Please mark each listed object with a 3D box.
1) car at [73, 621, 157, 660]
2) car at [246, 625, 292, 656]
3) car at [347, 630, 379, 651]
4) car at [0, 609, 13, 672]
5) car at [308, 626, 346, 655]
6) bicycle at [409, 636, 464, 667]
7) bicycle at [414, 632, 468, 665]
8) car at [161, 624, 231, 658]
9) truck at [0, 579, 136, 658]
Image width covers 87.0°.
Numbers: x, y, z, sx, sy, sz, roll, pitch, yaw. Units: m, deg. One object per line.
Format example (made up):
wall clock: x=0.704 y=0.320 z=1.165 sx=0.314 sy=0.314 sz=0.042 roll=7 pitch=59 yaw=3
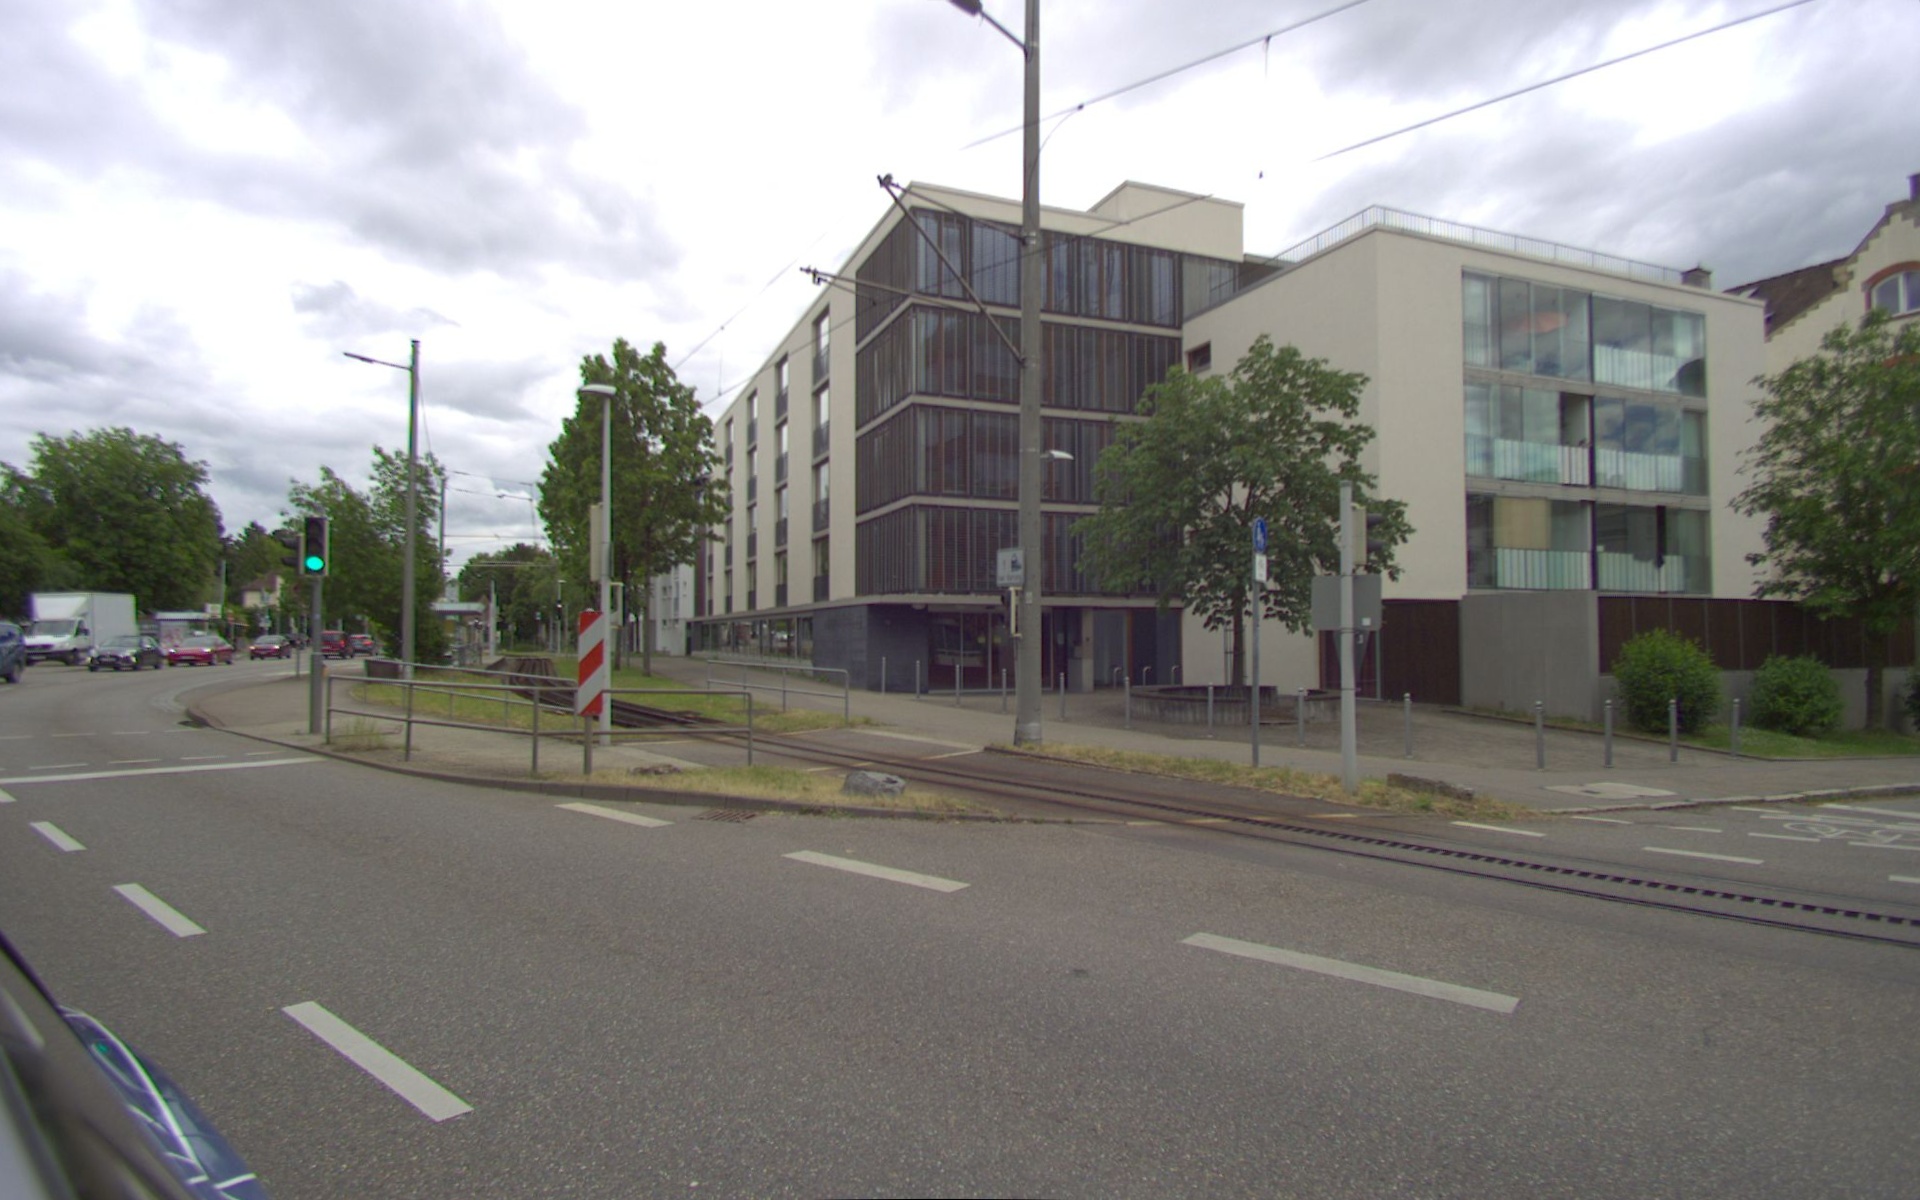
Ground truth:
car: x=-35.489 y=1.685 z=42.600 sx=1.819 sy=1.546 sz=4.013 roll=0 pitch=-2 yaw=-27
car: x=-44.322 y=2.585 z=64.982 sx=1.819 sy=1.875 sz=4.271 roll=0 pitch=-2 yaw=-26
car: x=-43.916 y=3.017 z=74.509 sx=1.743 sy=1.490 sz=4.012 roll=2 pitch=-3 yaw=-27
car: x=-29.013 y=1.178 z=29.021 sx=1.819 sy=1.875 sz=4.012 roll=1 pitch=-2 yaw=-30
car: x=-41.283 y=2.640 z=66.087 sx=1.657 sy=1.822 sz=4.365 roll=2 pitch=-3 yaw=-27
bicycle: x=-19.130 y=1.871 z=36.998 sx=1.724 sy=1.054 sz=0.409 roll=-2 pitch=-2 yaw=-21
bicycle: x=-18.553 y=1.740 z=36.184 sx=1.682 sy=1.097 sz=0.409 roll=-1 pitch=-2 yaw=-35
car: x=-37.218 y=2.042 z=49.422 sx=1.819 sy=1.546 sz=4.013 roll=2 pitch=-4 yaw=-24
truck: x=-42.415 y=0.916 z=48.352 sx=2.499 sy=3.452 sz=7.801 roll=0 pitch=-2 yaw=-22
